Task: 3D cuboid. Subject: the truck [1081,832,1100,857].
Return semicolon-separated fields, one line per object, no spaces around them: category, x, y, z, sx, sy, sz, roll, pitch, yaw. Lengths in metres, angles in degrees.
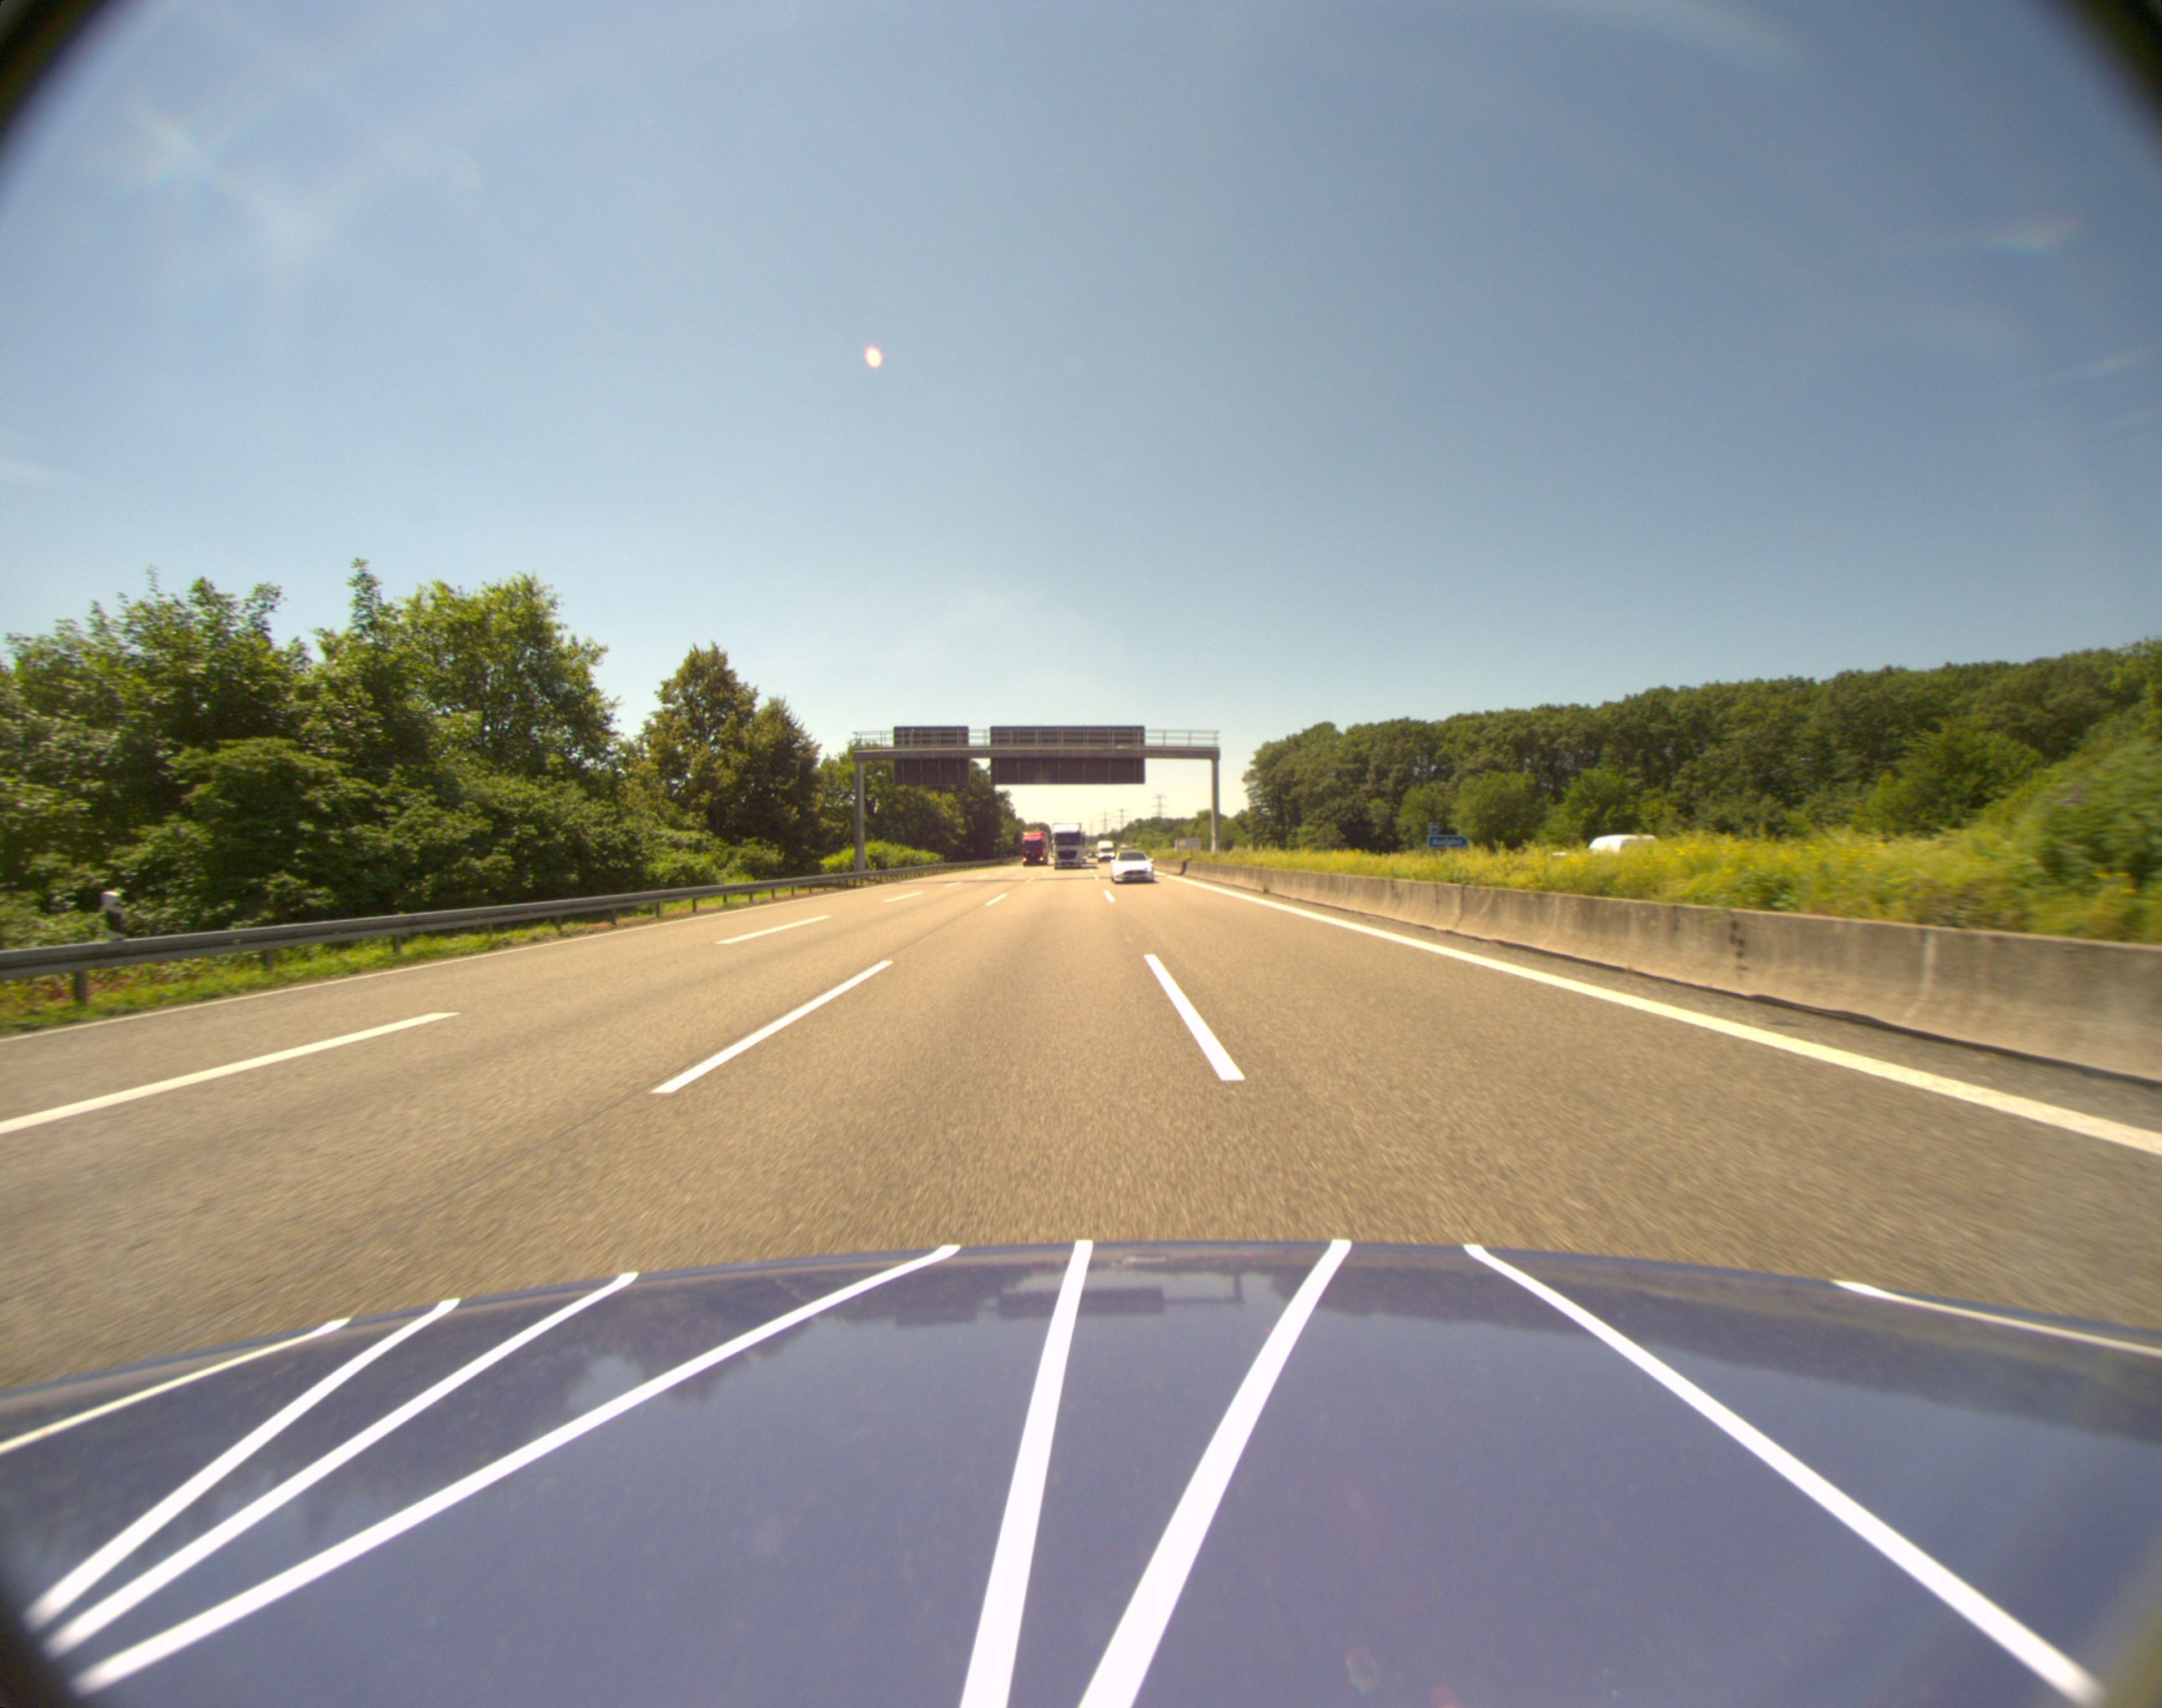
truck;1.839;-1.774;143.538;3.333;4.351;8.501;-1;1;1

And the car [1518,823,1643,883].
car;18.171;-0.041;27.886;1.998;2.002;4.000;-1;1;1

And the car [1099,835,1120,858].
car;3.608;-0.958;97.521;2.522;2.857;6.399;-2;1;1

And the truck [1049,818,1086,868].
truck;-1.132;-0.996;69.395;2.990;4.187;7.592;-2;1;1

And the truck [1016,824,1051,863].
truck;-5.602;-1.241;91.243;3.333;4.351;8.501;-1;1;1

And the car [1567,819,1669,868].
car;27.577;-0.519;39.289;1.997;2.303;5.546;-1;1;8

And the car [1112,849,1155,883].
car;2.399;0.498;35.729;1.771;1.440;5.108;-1;1;1

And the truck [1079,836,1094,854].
truck;1.413;-2.244;189.610;3.333;4.351;8.501;-1;1;1

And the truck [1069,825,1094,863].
truck;0.103;-1.198;92.580;2.700;4.232;8.243;-2;1;1

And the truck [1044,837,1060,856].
truck;-6.860;-1.849;181.889;3.333;4.351;8.501;-1;1;1

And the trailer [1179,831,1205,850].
trailer;20.336;-2.427;139.903;2.976;3.167;11.122;-2;1;-1
